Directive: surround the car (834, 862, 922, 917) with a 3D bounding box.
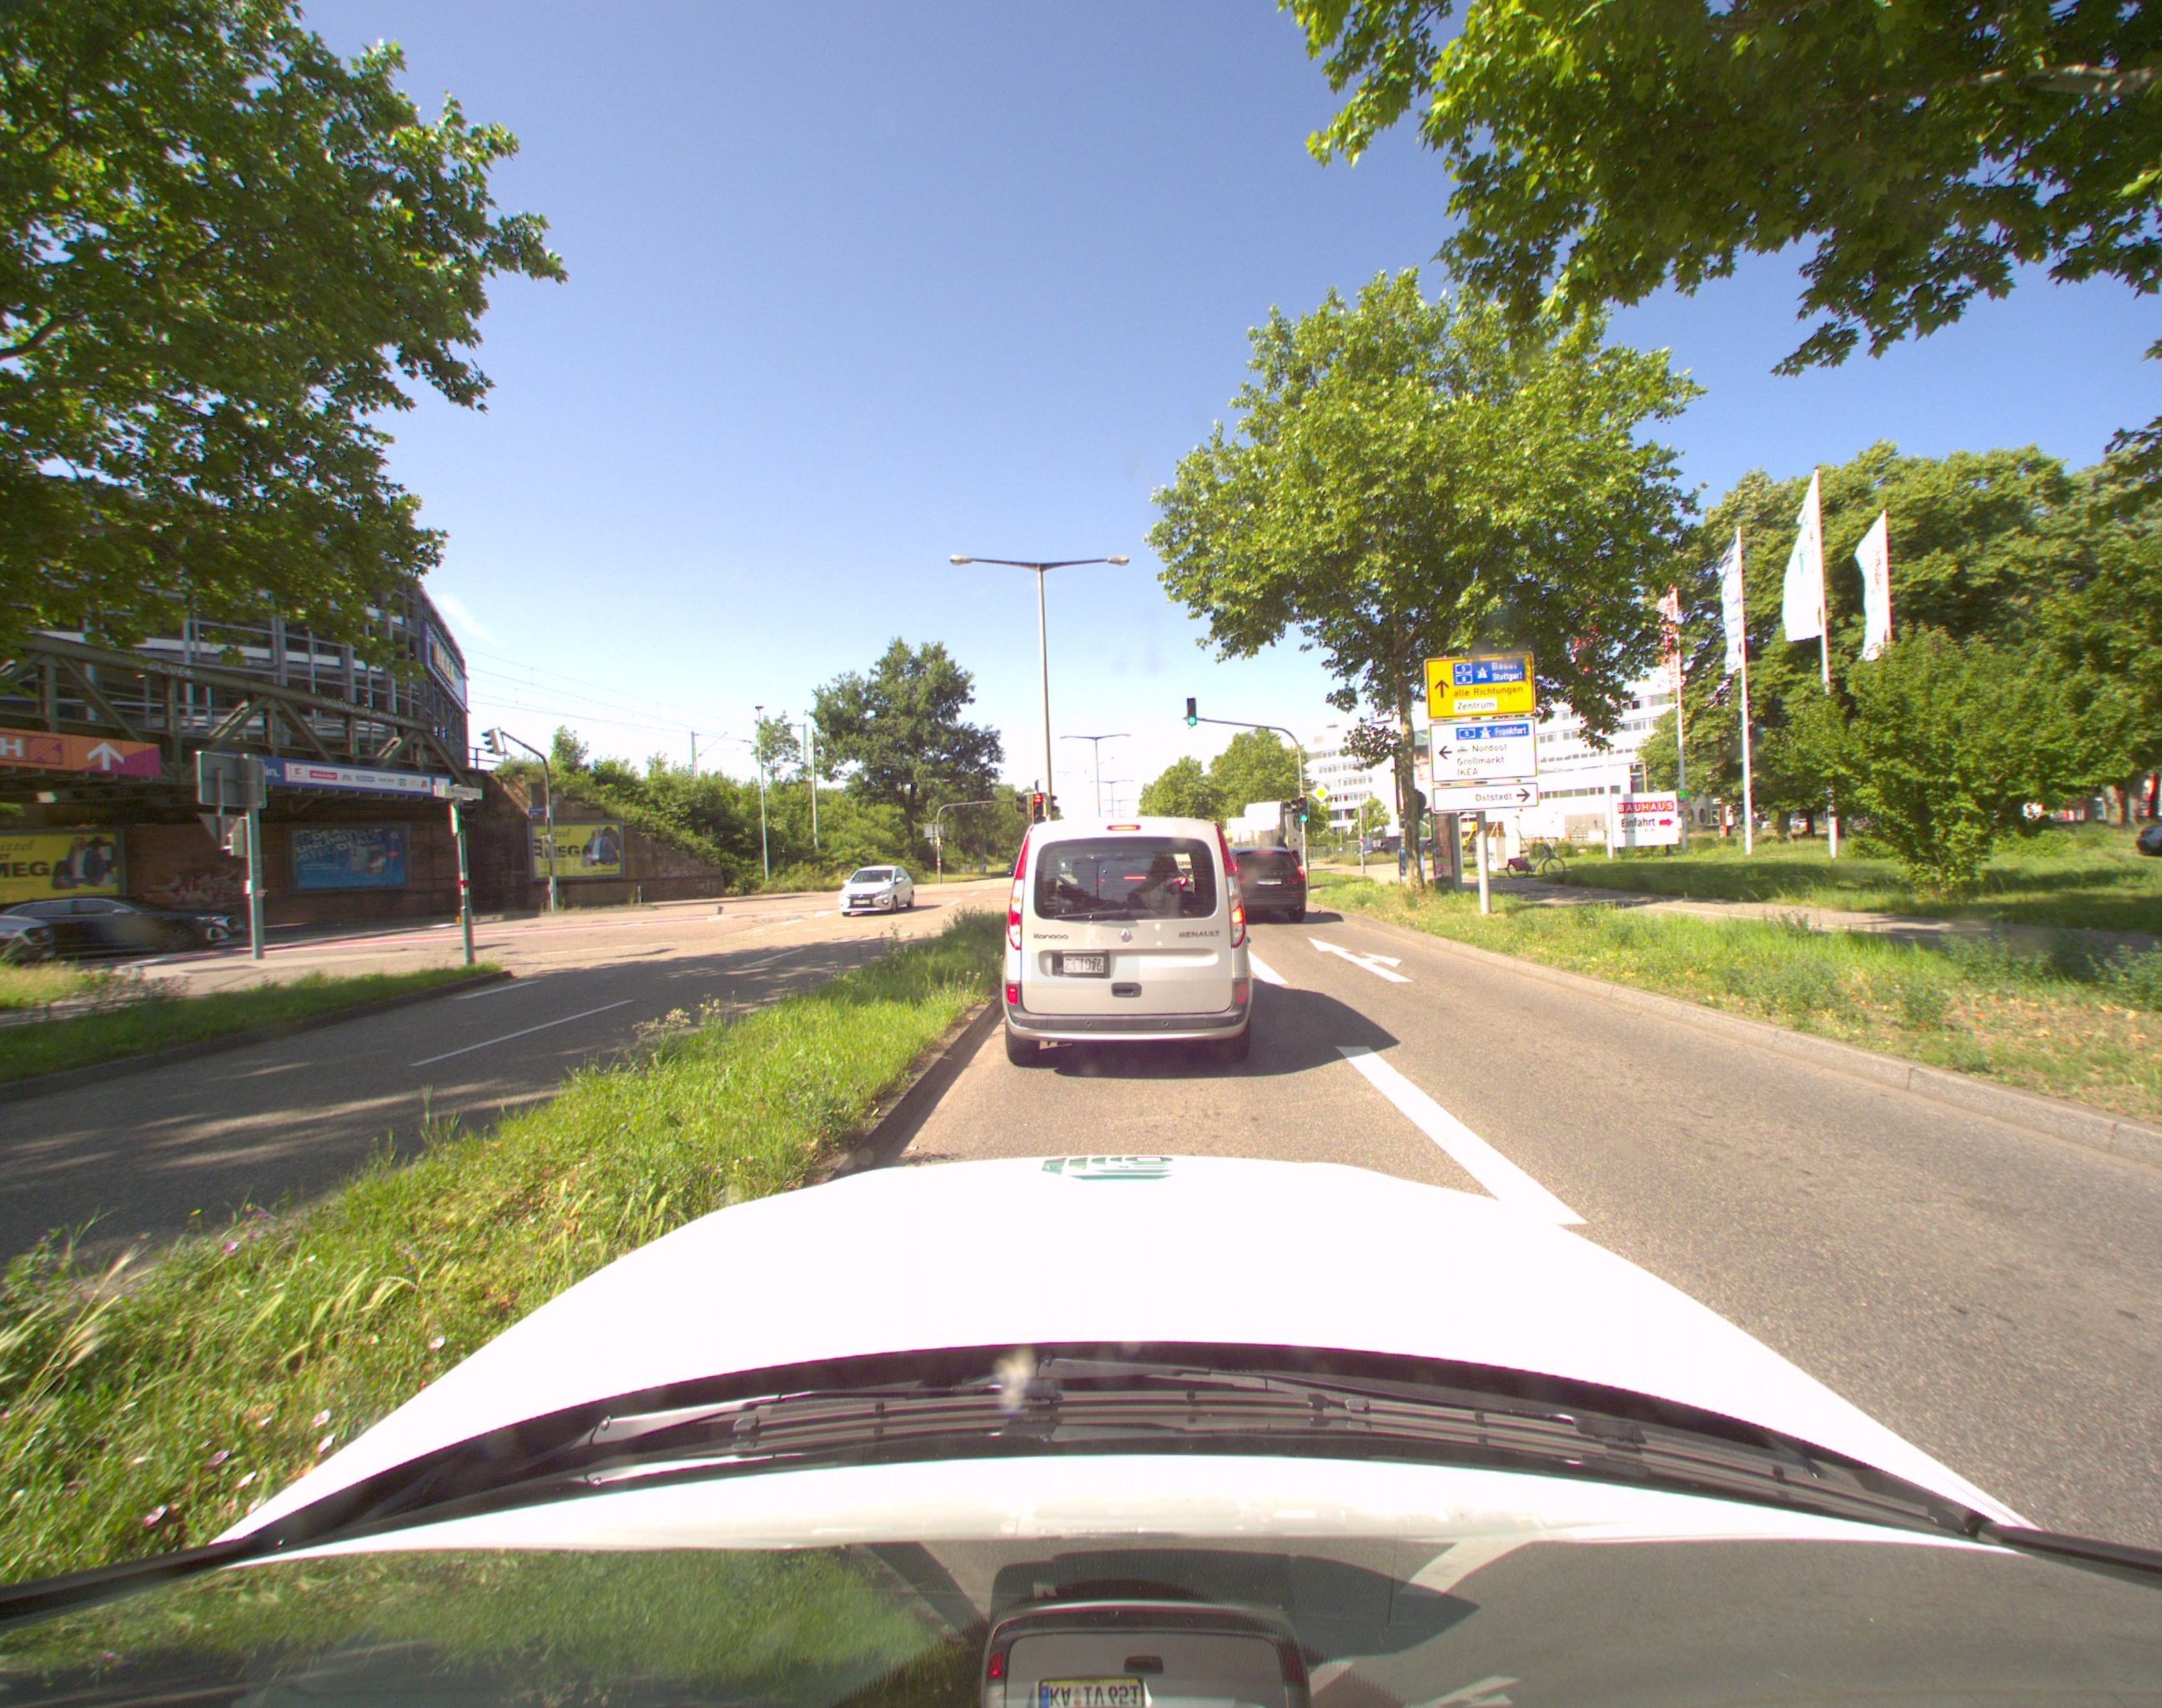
[{"bbox_3d":[-6.509,1.099,26.518,1.693,1.508,4.002,-2,0,2],"label":"car"}]

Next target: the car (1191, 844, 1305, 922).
[{"bbox_3d":[3.744,0.603,18.967,1.868,1.591,4.435,0,0,2],"label":"car"}]

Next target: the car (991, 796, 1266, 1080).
[{"bbox_3d":[0.373,0.563,7.311,1.779,1.838,4.001,0,-1,2],"label":"car"}]

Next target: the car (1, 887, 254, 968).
[{"bbox_3d":[-25.766,1.920,22.258,4.015,1.646,1.885,-4,1,-32],"label":"car"}]

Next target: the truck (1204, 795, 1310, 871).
[{"bbox_3d":[9.375,-0.962,42.818,2.882,3.643,7.235,-1,-1,34],"label":"truck"}]

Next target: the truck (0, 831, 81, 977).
[{"bbox_3d":[-26.324,1.275,16.670,6.890,3.105,2.196,-4,1,-32],"label":"truck"}]

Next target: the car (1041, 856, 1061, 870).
[{"bbox_3d":[-3.784,1.125,102.339,1.984,1.540,4.241,-3,-1,5],"label":"car"}]

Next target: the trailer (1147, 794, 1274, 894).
[{"bbox_3d":[6.140,-0.322,35.943,2.875,3.622,12.751,-1,-1,21],"label":"trailer"}]

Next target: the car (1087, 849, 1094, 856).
[{"bbox_3d":[2.837,-0.488,250.995,1.880,2.014,4.004,0,-1,4],"label":"car"}]

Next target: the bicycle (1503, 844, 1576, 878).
[{"bbox_3d":[15.029,0.233,26.742,1.985,1.014,0.624,-3,0,18],"label":"bicycle"}]

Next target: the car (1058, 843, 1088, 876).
[{"bbox_3d":[-0.648,0.469,69.841,1.984,2.607,5.140,-3,-1,5],"label":"car"}]

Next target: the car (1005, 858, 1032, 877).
[{"bbox_3d":[-5.854,1.248,77.170,1.902,1.641,3.742,-3,-1,5],"label":"car"}]

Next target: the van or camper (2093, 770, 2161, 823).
[{"bbox_3d":[63.753,-3.406,46.547,2.007,2.942,7.213,0,-1,-32],"label":"van or camper"}]
